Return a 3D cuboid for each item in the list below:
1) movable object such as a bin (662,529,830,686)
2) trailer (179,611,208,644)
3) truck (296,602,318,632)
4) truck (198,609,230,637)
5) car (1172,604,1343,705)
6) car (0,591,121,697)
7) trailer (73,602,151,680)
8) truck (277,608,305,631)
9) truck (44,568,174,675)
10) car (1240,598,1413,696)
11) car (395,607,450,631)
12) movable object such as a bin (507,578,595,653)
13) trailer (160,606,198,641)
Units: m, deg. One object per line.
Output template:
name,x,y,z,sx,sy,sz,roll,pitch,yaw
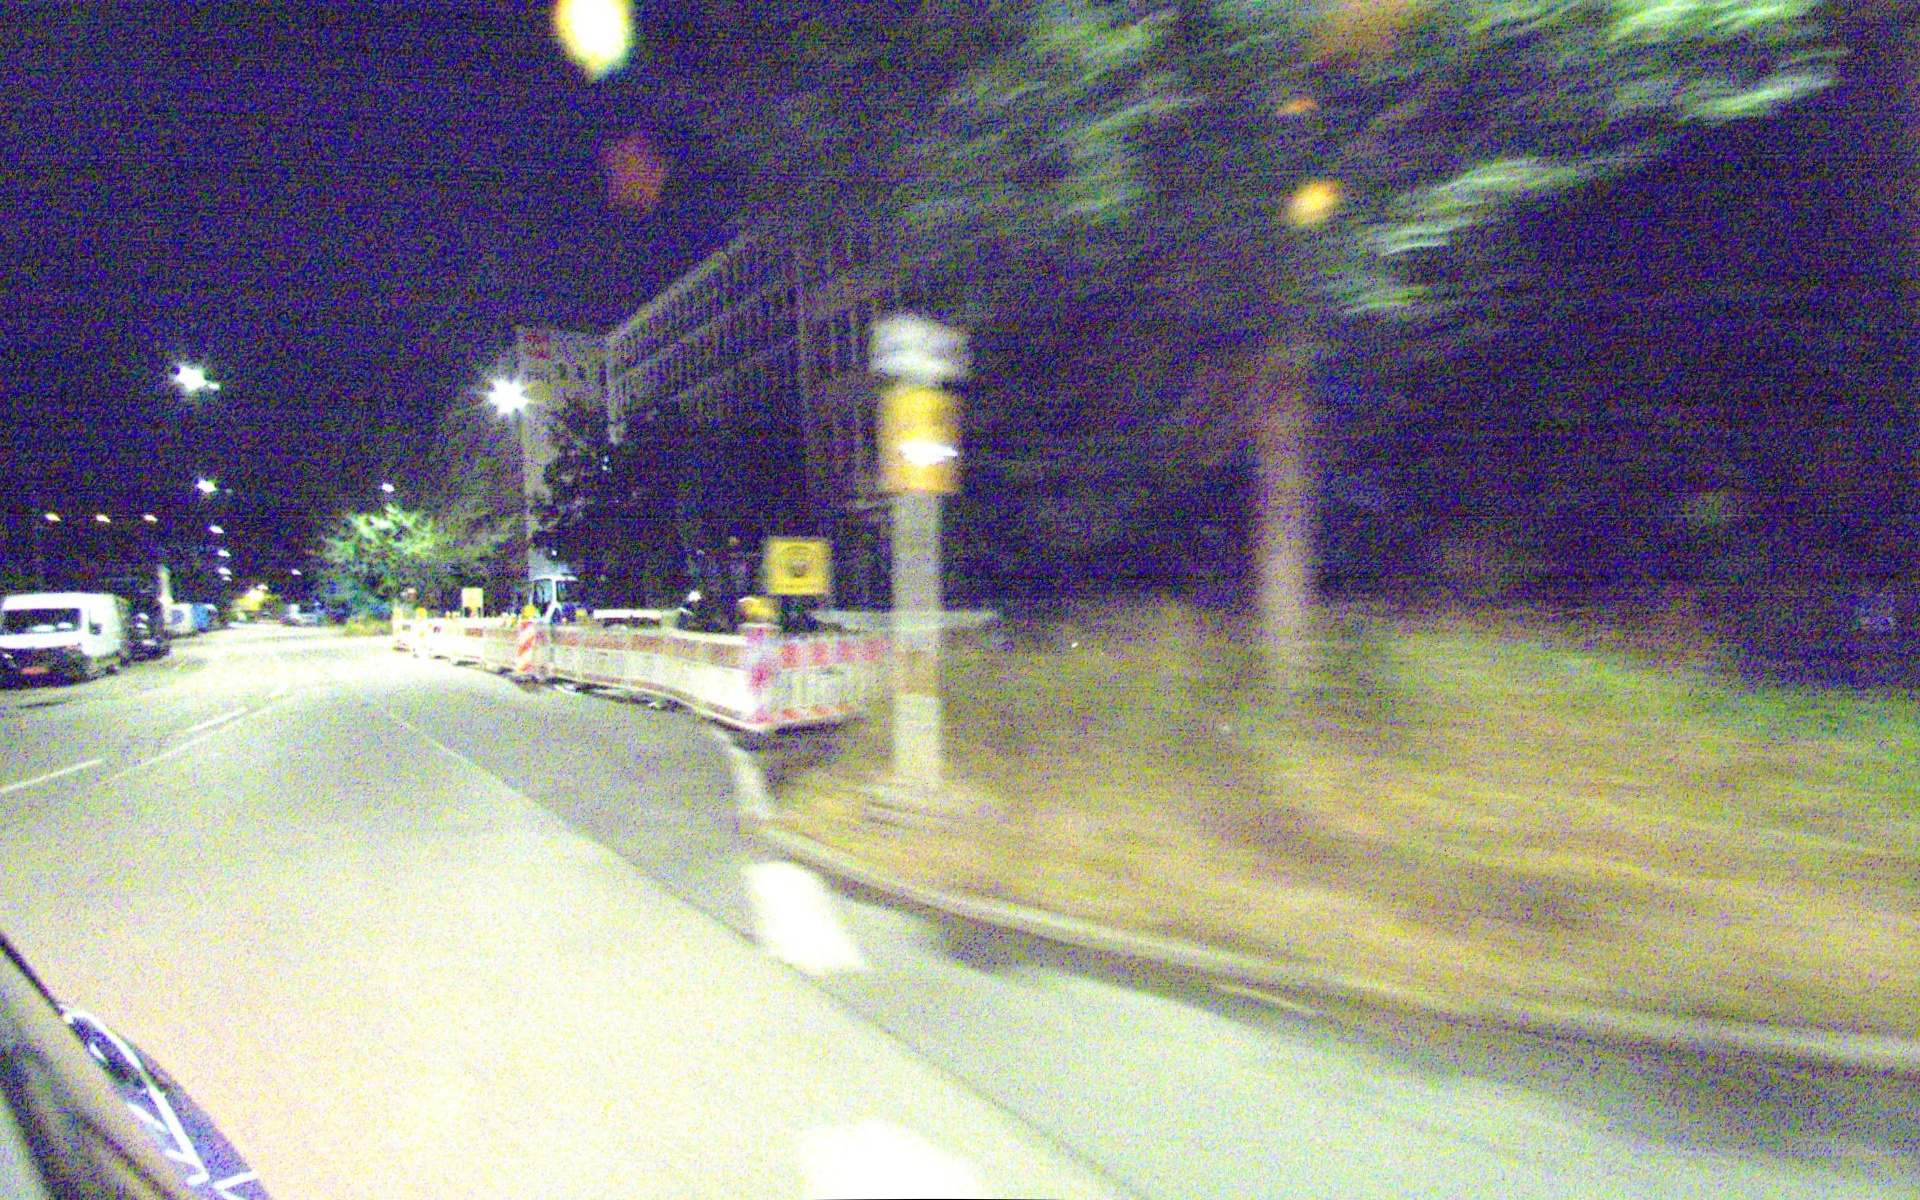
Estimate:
movable object such as a bin,-4.238,0.187,19.691,1.551,2.755,3.705,1,-2,-42
trailer,-84.115,3.031,111.036,2.368,3.350,4.371,-4,1,-38
truck,-99.555,2.573,154.233,2.602,4.347,12.858,-1,0,-33
truck,-110.979,3.398,150.593,2.475,3.866,12.695,-4,1,-31
car,8.483,1.486,29.260,1.966,2.573,4.496,-4,1,-31
car,-25.068,1.156,27.934,2.080,2.535,6.389,-4,1,-33
trailer,-30.068,1.415,35.997,1.610,2.492,5.039,-4,1,-35
truck,-116.704,3.448,176.476,2.786,3.658,10.420,-4,1,-39
truck,-35.452,0.825,42.532,3.280,3.897,9.350,-4,1,-36
car,10.803,1.337,30.189,1.966,2.573,4.496,-4,1,-31
car,-51.920,1.806,97.820,4.374,1.986,2.005,-4,1,-36
movable object such as a bin,-14.294,0.529,35.354,2.832,2.486,1.536,-1,0,34
trailer,-63.337,1.872,82.120,1.967,2.670,4.011,-4,1,-33
